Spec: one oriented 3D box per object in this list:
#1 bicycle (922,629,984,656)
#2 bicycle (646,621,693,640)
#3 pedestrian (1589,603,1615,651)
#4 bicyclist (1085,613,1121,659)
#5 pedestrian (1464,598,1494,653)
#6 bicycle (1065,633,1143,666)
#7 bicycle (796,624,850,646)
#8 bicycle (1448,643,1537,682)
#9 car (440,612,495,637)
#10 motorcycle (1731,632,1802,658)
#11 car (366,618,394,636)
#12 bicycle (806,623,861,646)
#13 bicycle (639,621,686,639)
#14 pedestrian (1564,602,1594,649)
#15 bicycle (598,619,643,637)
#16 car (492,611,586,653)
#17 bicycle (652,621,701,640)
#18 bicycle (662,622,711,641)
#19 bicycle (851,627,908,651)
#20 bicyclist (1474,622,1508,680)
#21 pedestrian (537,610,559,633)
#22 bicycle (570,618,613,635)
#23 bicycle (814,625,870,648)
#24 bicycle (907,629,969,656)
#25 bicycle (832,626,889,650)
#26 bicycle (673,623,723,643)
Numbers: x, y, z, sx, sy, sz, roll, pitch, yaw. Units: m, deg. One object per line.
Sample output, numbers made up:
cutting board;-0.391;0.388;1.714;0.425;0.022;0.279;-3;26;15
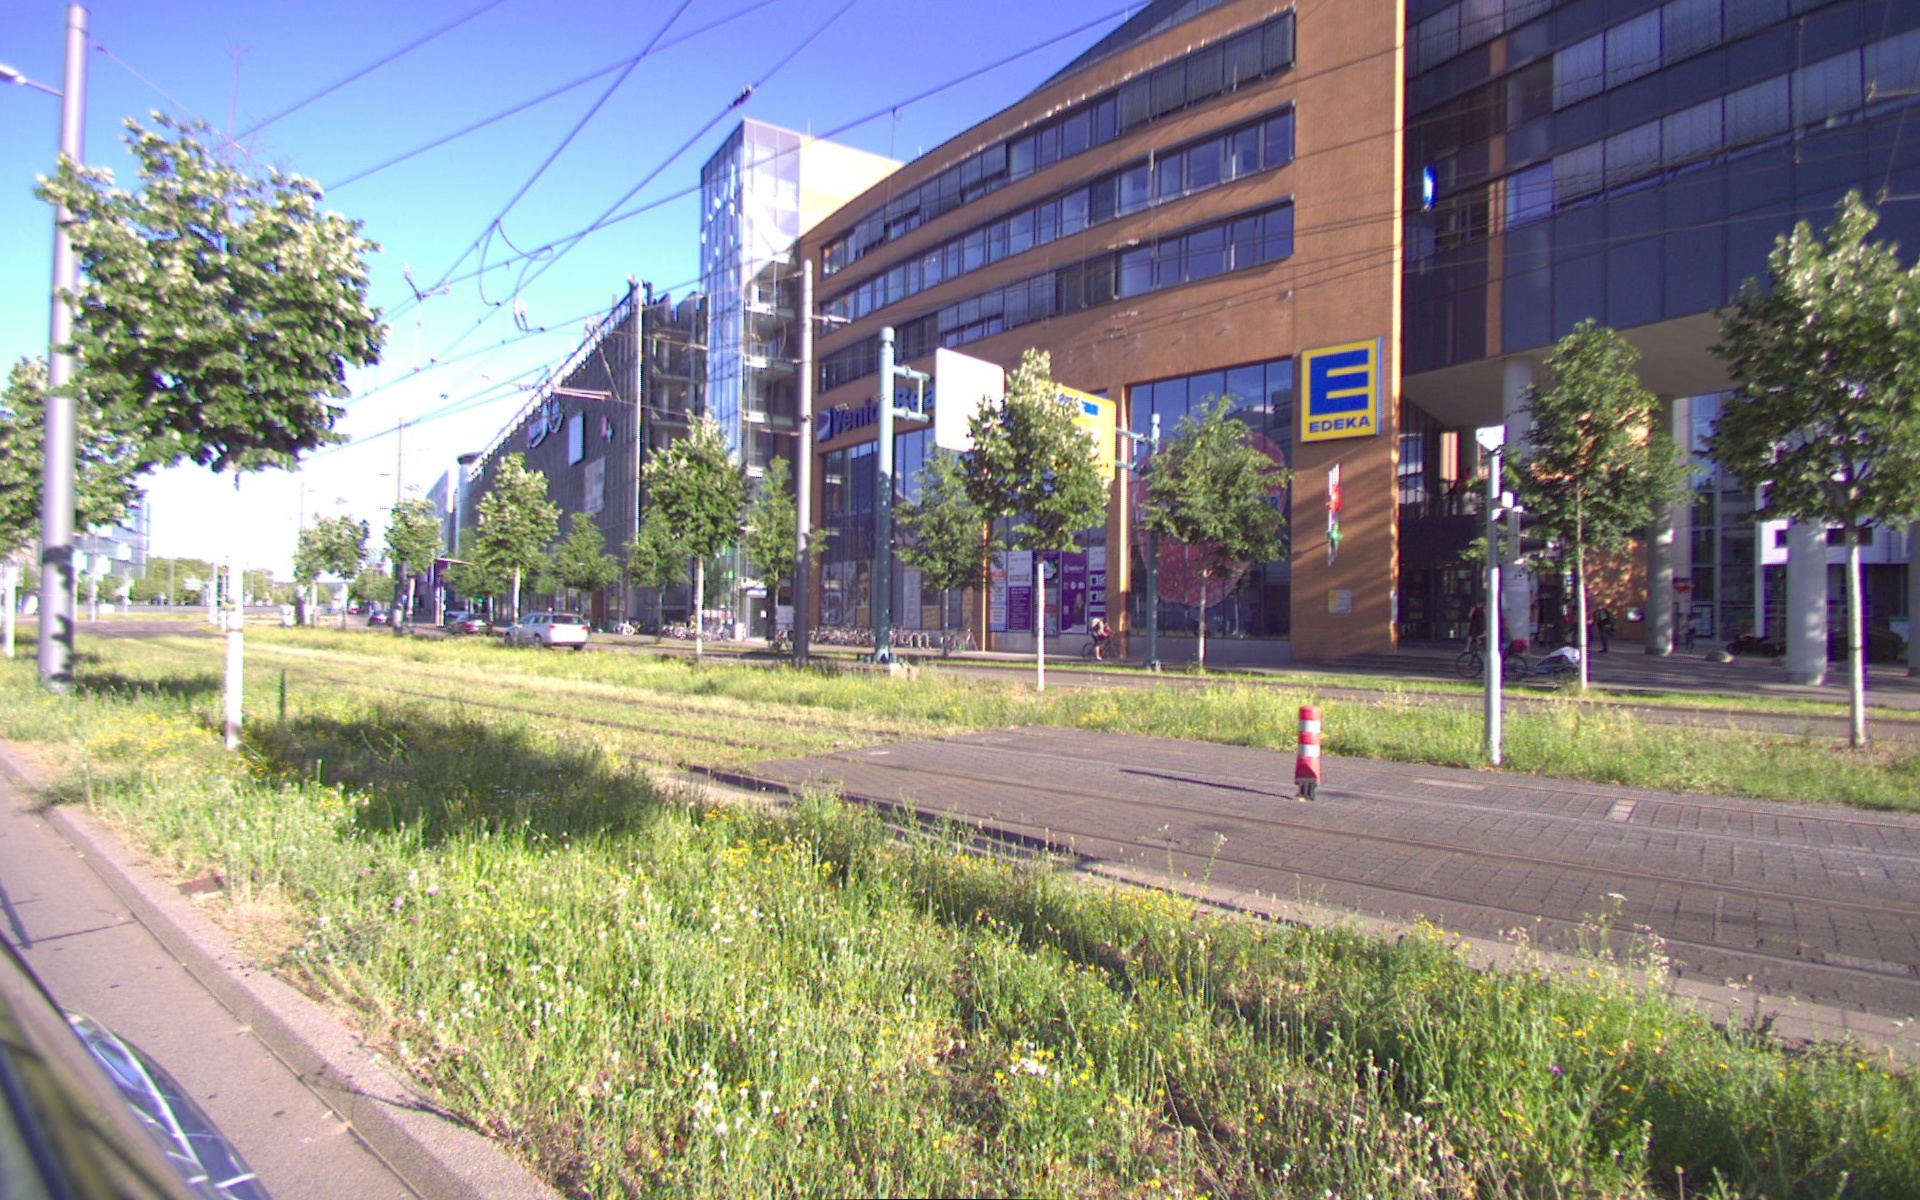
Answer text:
bicycle;-0.281;1.804;42.834;2.648;1.112;0.897;2;-2;-39
bicycle;-17.662;1.838;61.571;2.648;1.112;0.827;2;-2;-39
pedestrian;23.244;0.966;36.647;0.698;1.718;0.724;0;-2;40
bicyclist;5.013;1.256;35.431;0.939;1.560;0.883;-1;-2;41
pedestrian;16.300;0.794;31.772;0.698;1.718;0.724;0;-2;40
bicycle;5.018;1.705;35.417;2.691;1.112;0.883;-1;-2;42
bicycle;-7.000;1.781;51.842;2.648;1.112;0.897;2;-2;-39
bicycle;14.472;1.682;27.548;2.066;0.957;0.682;0;-1;40
car;-31.383;1.538;64.420;4.354;1.539;1.605;0;-2;42
motorcycle;35.487;1.982;44.556;0.819;1.066;2.347;1;-1;-40
car;-49.809;2.296;86.868;1.600;1.539;4.366;3;-2;-36
bicycle;-6.357;1.738;50.839;2.648;1.112;0.897;2;-2;-39
bicycle;-18.276;1.839;62.255;2.648;1.112;0.897;2;-2;-39
pedestrian;22.001;0.902;35.966;0.688;1.635;0.735;1;-1;-37
bicycle;-22.269;1.848;66.425;2.648;1.112;0.897;2;-2;-39
car;-16.540;1.217;39.611;4.804;1.539;1.604;0;-1;44
bicycle;-17.024;1.841;60.816;2.648;1.112;0.897;2;-2;-39
bicycle;-16.021;1.850;59.372;2.648;1.112;0.897;2;-2;-39
bicycle;-3.756;1.809;47.404;2.648;1.112;0.897;2;-2;-39
bicyclist;14.467;1.376;27.554;0.702;1.541;0.682;0;-1;40
pedestrian;-30.675;1.624;75.407;1.093;1.694;1.059;0;-1;35
bicycle;-25.752;1.843;70.771;2.648;1.198;0.897;2;-2;-39
bicycle;-5.756;1.798;49.650;2.648;1.112;0.897;2;-2;-39
bicycle;-0.934;1.826;43.654;2.648;1.112;0.897;2;-2;-39
bicycle;-4.725;1.805;48.331;2.648;1.112;0.897;2;-2;-39
bicycle;-14.944;1.859;57.744;2.648;1.112;0.897;2;-2;-39
